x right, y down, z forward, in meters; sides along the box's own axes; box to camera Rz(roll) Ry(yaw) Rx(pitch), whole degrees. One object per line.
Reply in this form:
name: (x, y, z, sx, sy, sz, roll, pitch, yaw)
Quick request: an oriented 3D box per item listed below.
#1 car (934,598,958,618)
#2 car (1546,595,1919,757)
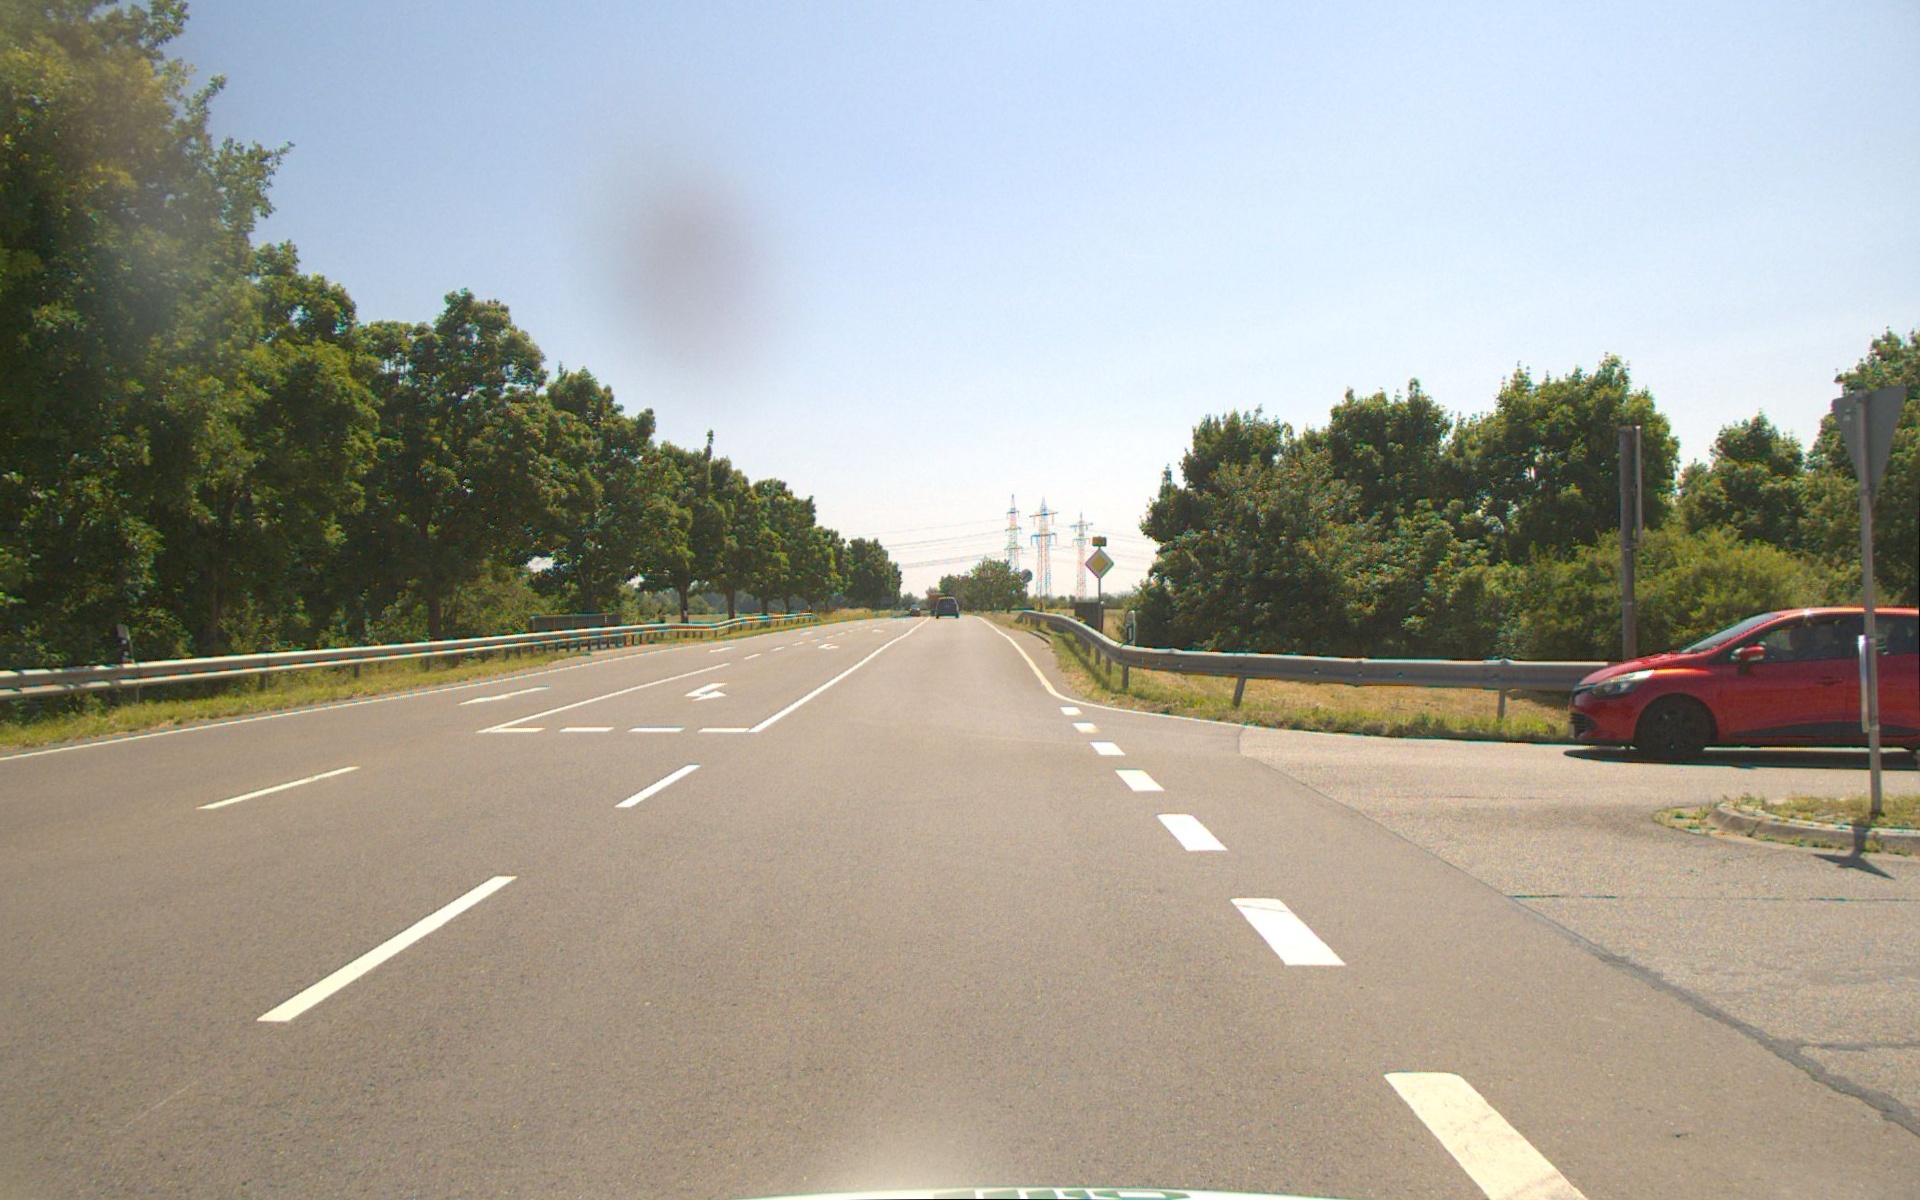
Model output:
car: (-1.183, 0.636, 135.093, 1.847, 1.544, 4.038, 1, 0, -2)
car: (7.846, 0.685, 15.805, 4.064, 1.443, 1.781, 0, -1, 13)
